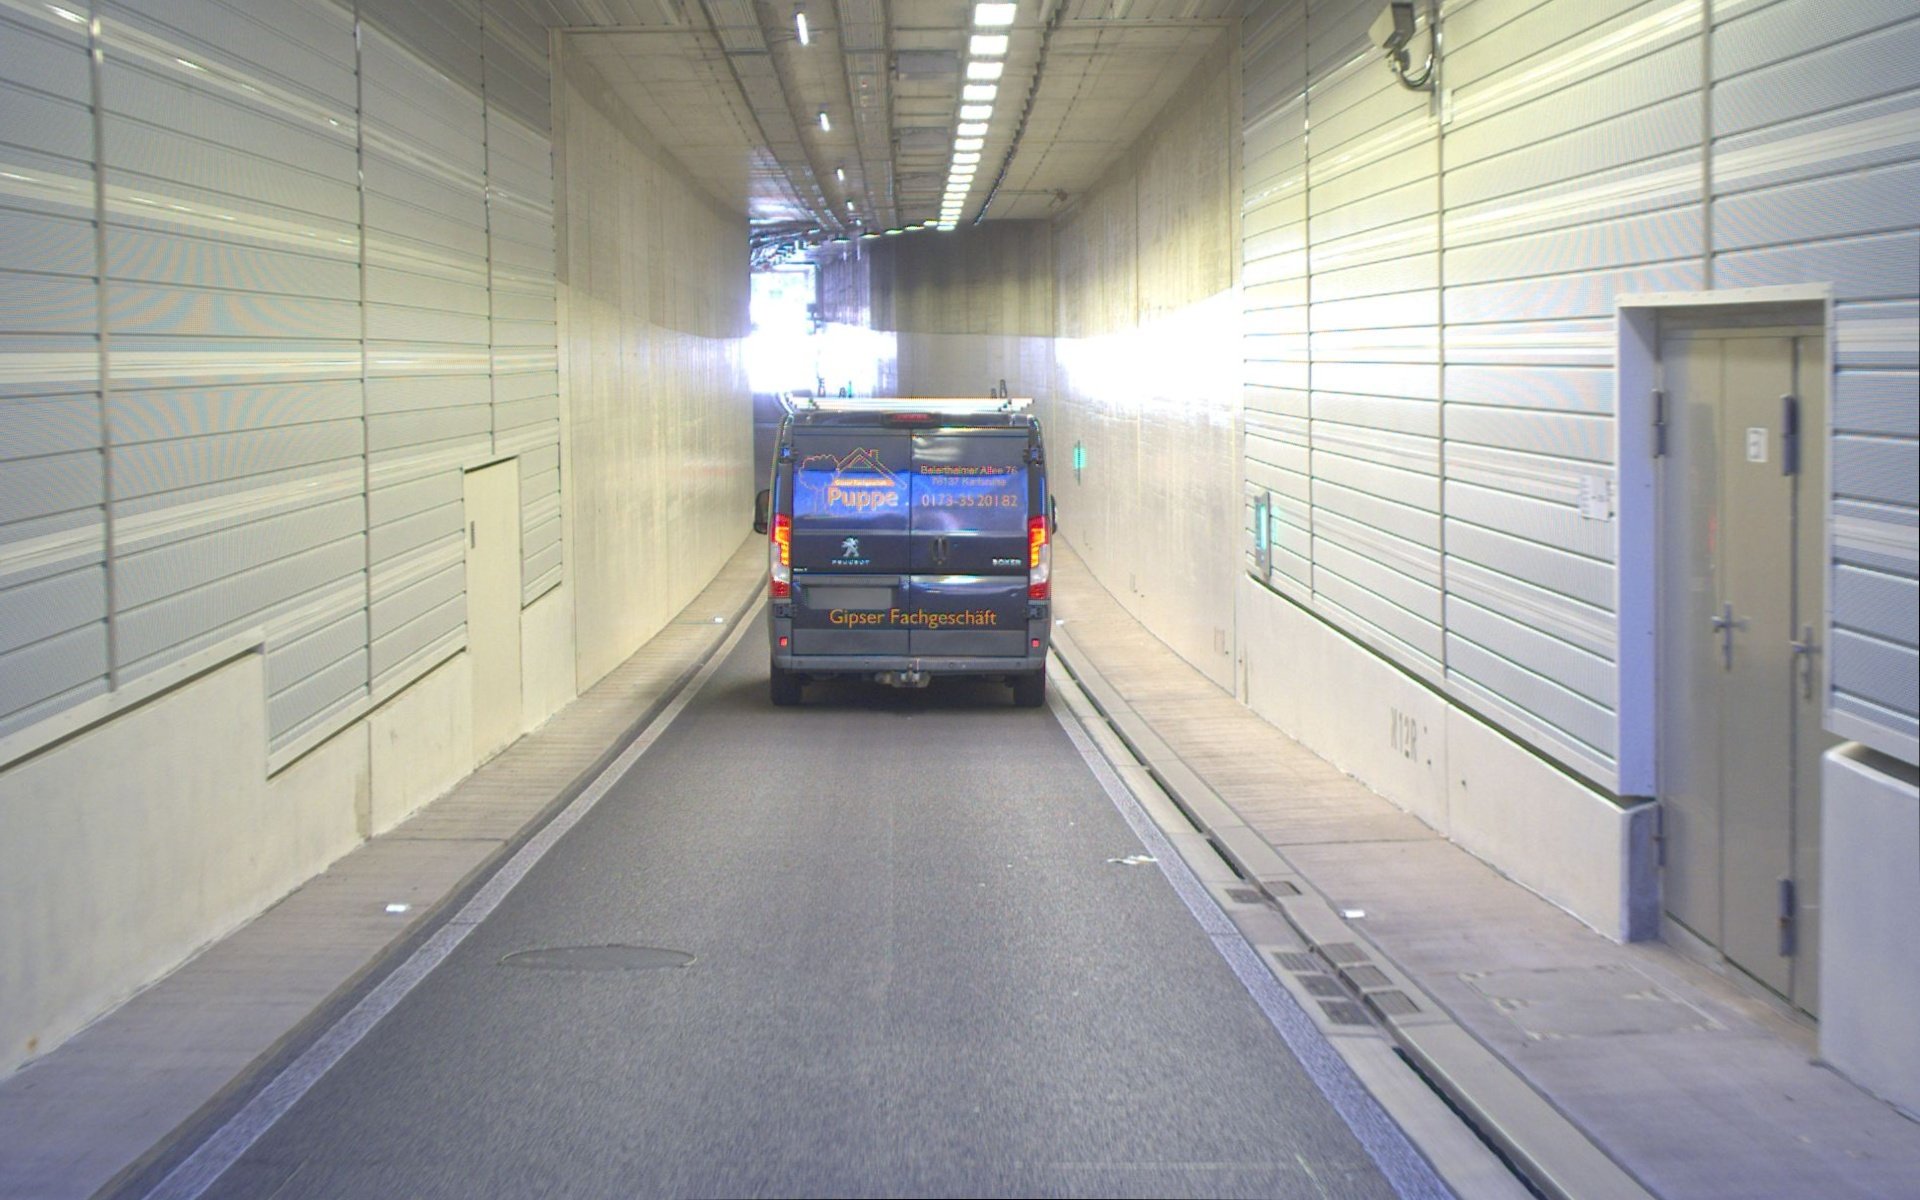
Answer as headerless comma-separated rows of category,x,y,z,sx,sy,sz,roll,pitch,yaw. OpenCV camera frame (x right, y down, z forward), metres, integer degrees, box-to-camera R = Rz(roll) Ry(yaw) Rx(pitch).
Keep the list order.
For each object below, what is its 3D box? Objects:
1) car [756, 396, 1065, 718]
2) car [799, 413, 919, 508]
car,-0.387,-0.410,26.471,2.158,2.258,4.637,0,3,-1
car,-1.873,-2.570,62.497,2.085,1.508,4.638,-1,5,-2
